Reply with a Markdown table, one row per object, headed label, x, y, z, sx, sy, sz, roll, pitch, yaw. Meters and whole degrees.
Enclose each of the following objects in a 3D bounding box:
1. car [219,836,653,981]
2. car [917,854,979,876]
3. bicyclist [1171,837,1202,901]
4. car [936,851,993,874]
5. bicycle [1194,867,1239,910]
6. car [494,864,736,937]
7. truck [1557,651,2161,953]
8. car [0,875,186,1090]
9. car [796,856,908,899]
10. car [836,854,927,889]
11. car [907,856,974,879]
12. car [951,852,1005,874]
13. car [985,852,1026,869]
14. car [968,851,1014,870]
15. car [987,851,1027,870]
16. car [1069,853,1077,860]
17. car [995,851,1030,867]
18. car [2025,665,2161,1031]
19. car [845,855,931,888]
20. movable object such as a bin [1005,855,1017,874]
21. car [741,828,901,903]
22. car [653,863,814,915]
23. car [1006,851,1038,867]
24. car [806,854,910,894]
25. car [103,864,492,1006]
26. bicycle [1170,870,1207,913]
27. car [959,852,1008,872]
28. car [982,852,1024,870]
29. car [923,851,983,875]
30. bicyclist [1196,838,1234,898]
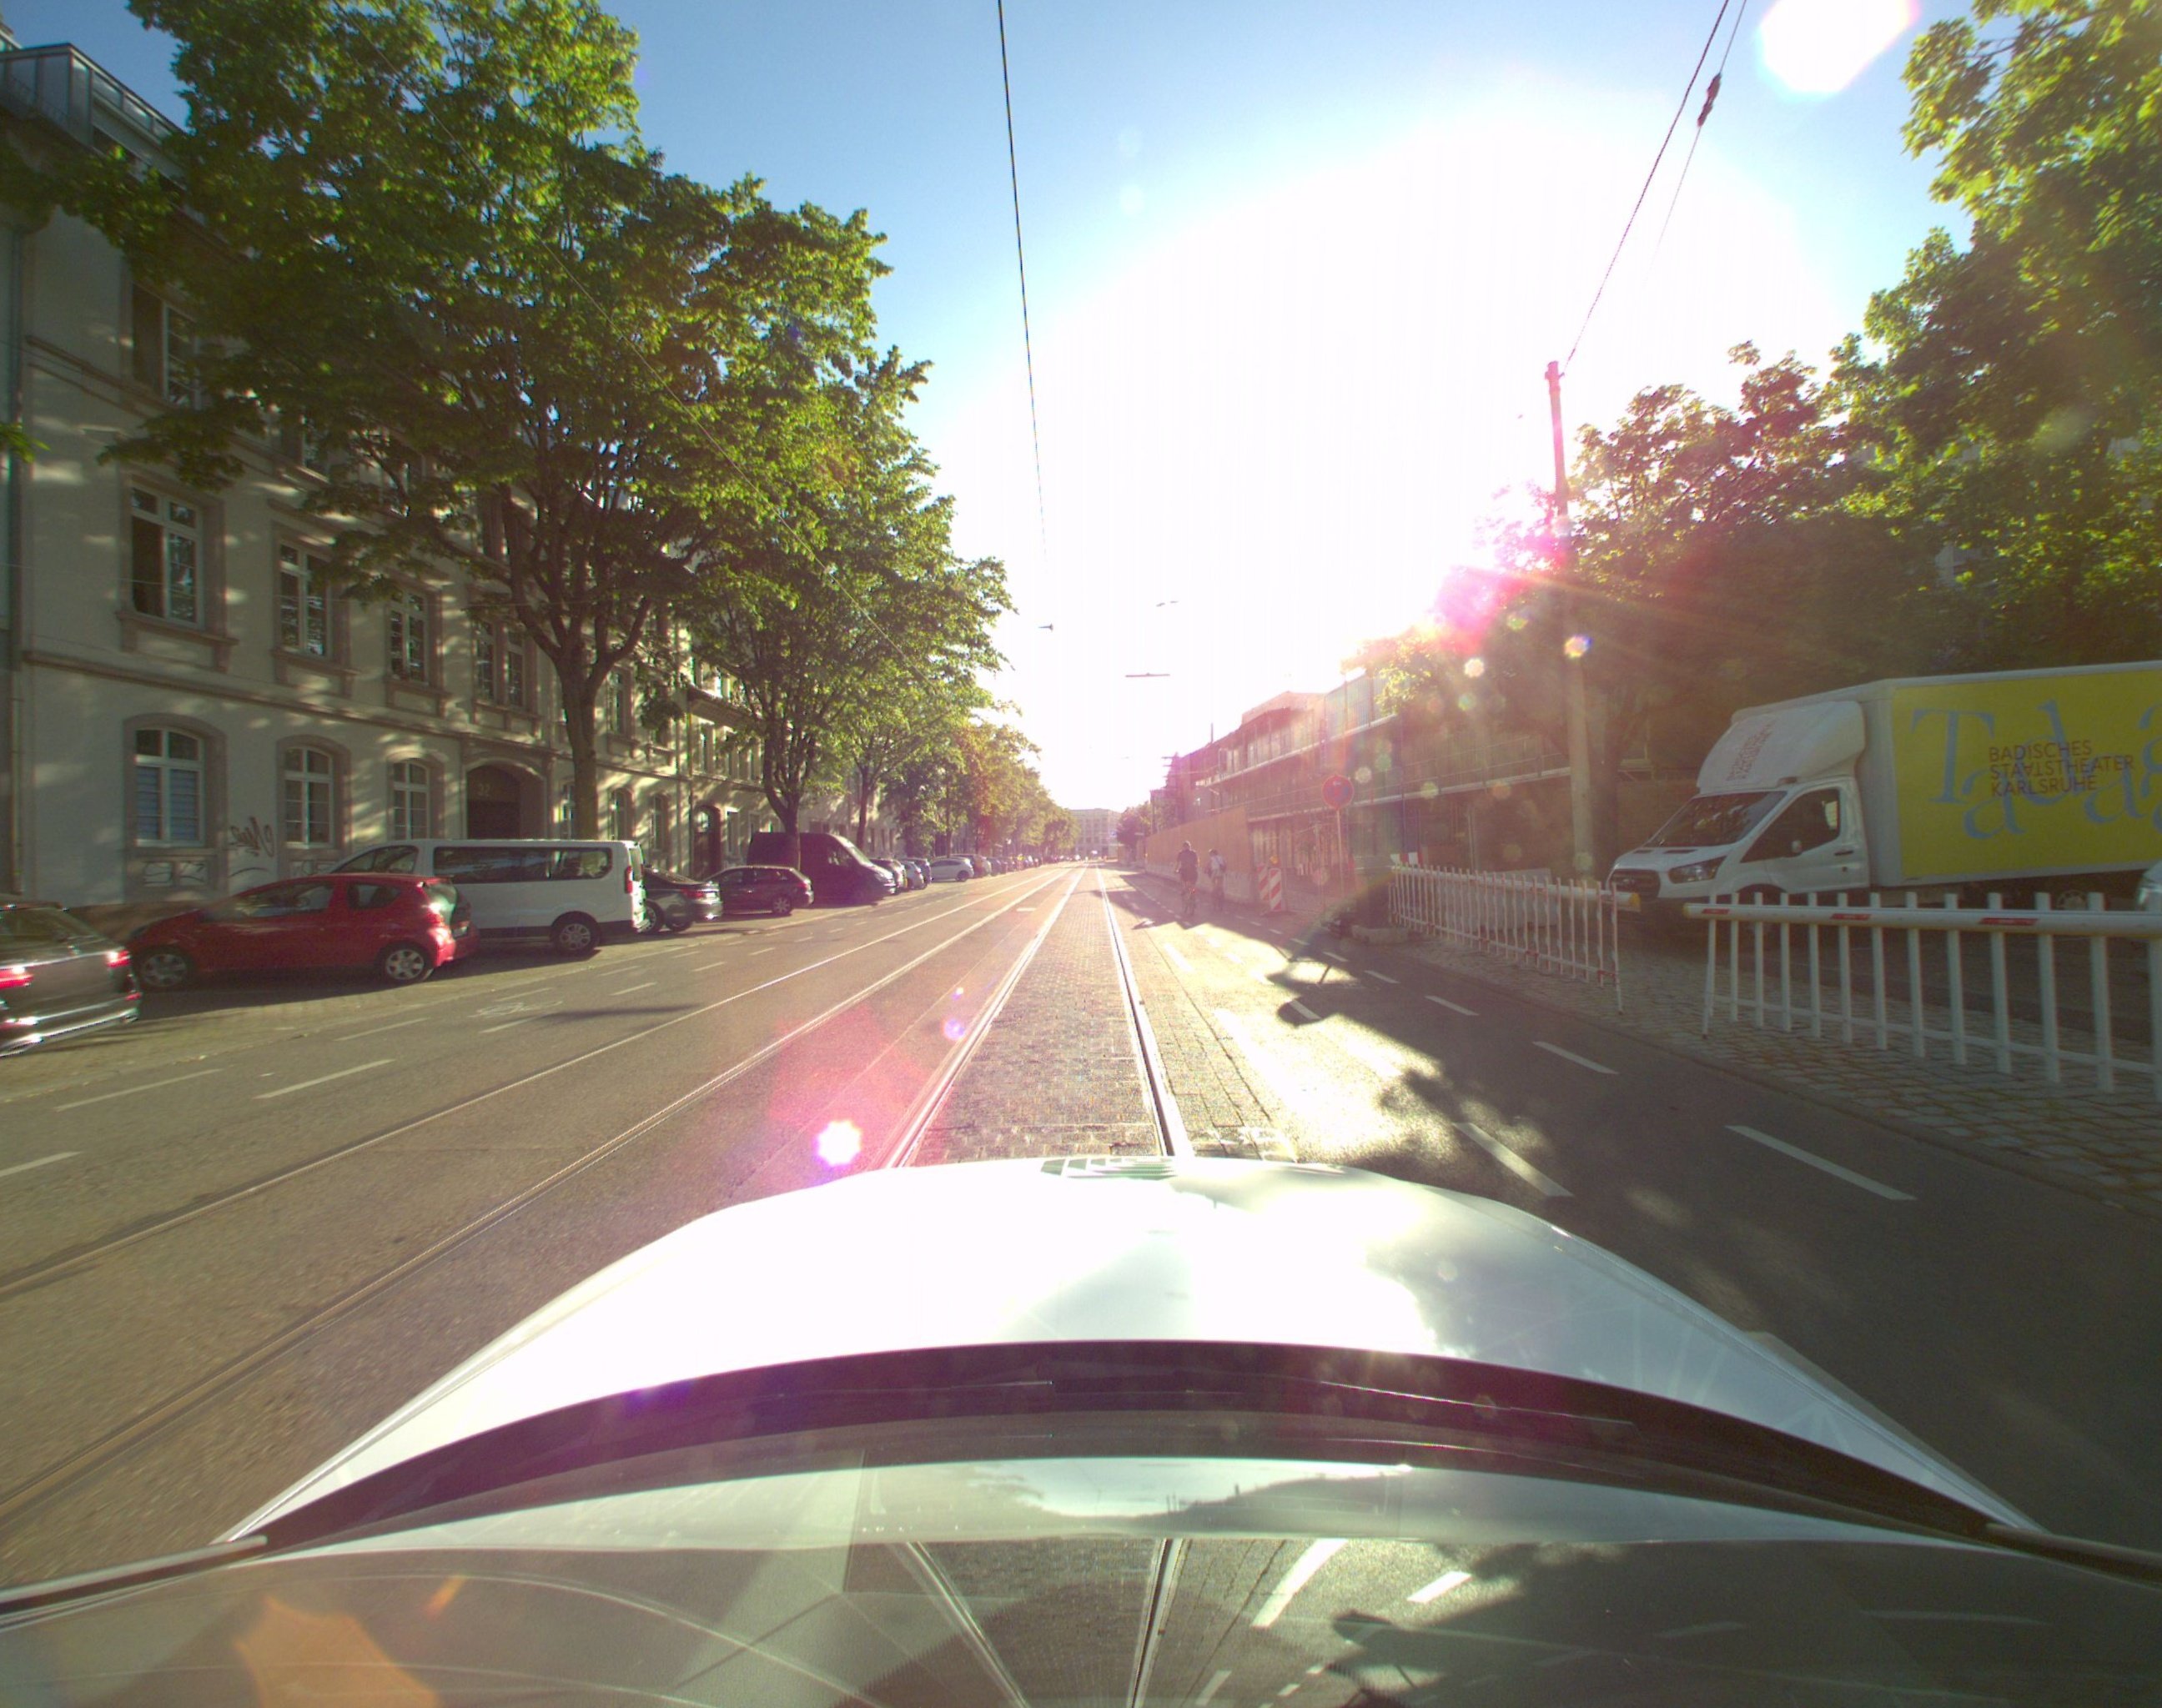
| label | x | y | z | sx | sy | sz | roll | pitch | yaw |
| --- | --- | --- | --- | --- | --- | --- | --- | --- | --- |
| car | -10.422 | 0.770 | 13.831 | 5.354 | 1.991 | 2.023 | -2 | 0 | -24 |
| car | -9.506 | 0.800 | 58.301 | 4.100 | 1.453 | 1.816 | 1 | -1 | -20 |
| bicyclist | 2.781 | 0.389 | 21.486 | 0.678 | 1.658 | 0.812 | -2 | 0 | 0 |
| car | -9.162 | 0.673 | 63.801 | 4.102 | 1.754 | 1.815 | 1 | -1 | -22 |
| bicycle | 3.763 | 0.928 | 22.799 | 0.890 | 1.093 | 2.431 | 0 | 0 | 1 |
| car | -9.873 | 0.976 | 17.568 | 4.084 | 1.419 | 1.824 | 1 | -1 | -8 |
| truck | 10.843 | -0.677 | 11.186 | 7.073 | 3.347 | 2.390 | -3 | 0 | 0 |
| car | -9.928 | 0.977 | 5.679 | 4.649 | 1.491 | 1.676 | -1 | 0 | -23 |
| car | -9.184 | 0.926 | 32.918 | 4.082 | 1.608 | 1.824 | -1 | 0 | -7 |
| car | -9.680 | 0.847 | 39.744 | 4.082 | 1.608 | 1.824 | 1 | -1 | -7 |
| car | -9.229 | 0.876 | 53.627 | 4.100 | 1.453 | 1.816 | 1 | -1 | -20 |
| car | -8.538 | 0.724 | 67.361 | 4.102 | 1.754 | 1.815 | 1 | -1 | -22 |
| car | -8.349 | 0.748 | 89.796 | 4.102 | 1.754 | 1.815 | 1 | -1 | -22 |
| car | -8.664 | 0.668 | 78.537 | 4.102 | 1.754 | 1.815 | 1 | -1 | -22 |
| car | -8.418 | 0.748 | 92.734 | 4.102 | 2.054 | 1.815 | 1 | -1 | -22 |
| car | -2.006 | 0.590 | 198.801 | 1.676 | 1.837 | 3.868 | 1 | -1 | -3 |
| car | -8.853 | 0.644 | 105.482 | 4.102 | 2.054 | 1.815 | 1 | -1 | -22 |
| car | 10.114 | -0.257 | 5.445 | 5.350 | 2.530 | 1.998 | -5 | 0 | -3 |
| car | -9.944 | 0.892 | 42.281 | 4.082 | 1.608 | 1.824 | 1 | -1 | -7 |
| movable object such as a bin | -6.440 | 0.953 | 74.763 | 0.904 | 1.667 | 0.759 | 1 | -1 | -21 |
| car | -9.531 | 0.437 | 30.223 | 5.168 | 2.578 | 2.243 | 1 | -1 | -3 |
| car | -10.050 | 1.006 | 23.871 | 4.095 | 1.419 | 1.818 | 1 | -1 | -17 |
| car | -8.261 | 0.689 | 114.100 | 4.102 | 2.054 | 1.815 | 1 | -1 | -22 |
| car | -9.636 | 0.859 | 35.509 | 4.082 | 1.608 | 1.824 | 1 | -1 | -7 |
| car | -10.293 | 0.983 | 11.048 | 3.326 | 1.503 | 1.677 | -2 | 3 | -21 |
| bicycle | 2.802 | 0.968 | 21.340 | 0.678 | 1.018 | 1.921 | -2 | 0 | 0 |
| car | -8.816 | 0.753 | 73.839 | 4.102 | 1.754 | 1.815 | 1 | -1 | -22 |
| car | -8.255 | 0.760 | 86.451 | 4.102 | 1.754 | 1.815 | 1 | -1 | -22 |
| car | -9.577 | 0.682 | 60.875 | 4.102 | 1.754 | 1.815 | 1 | -1 | -22 |
| bicyclist | 3.766 | 0.380 | 22.972 | 0.890 | 1.639 | 1.100 | 0 | 0 | 1 |
